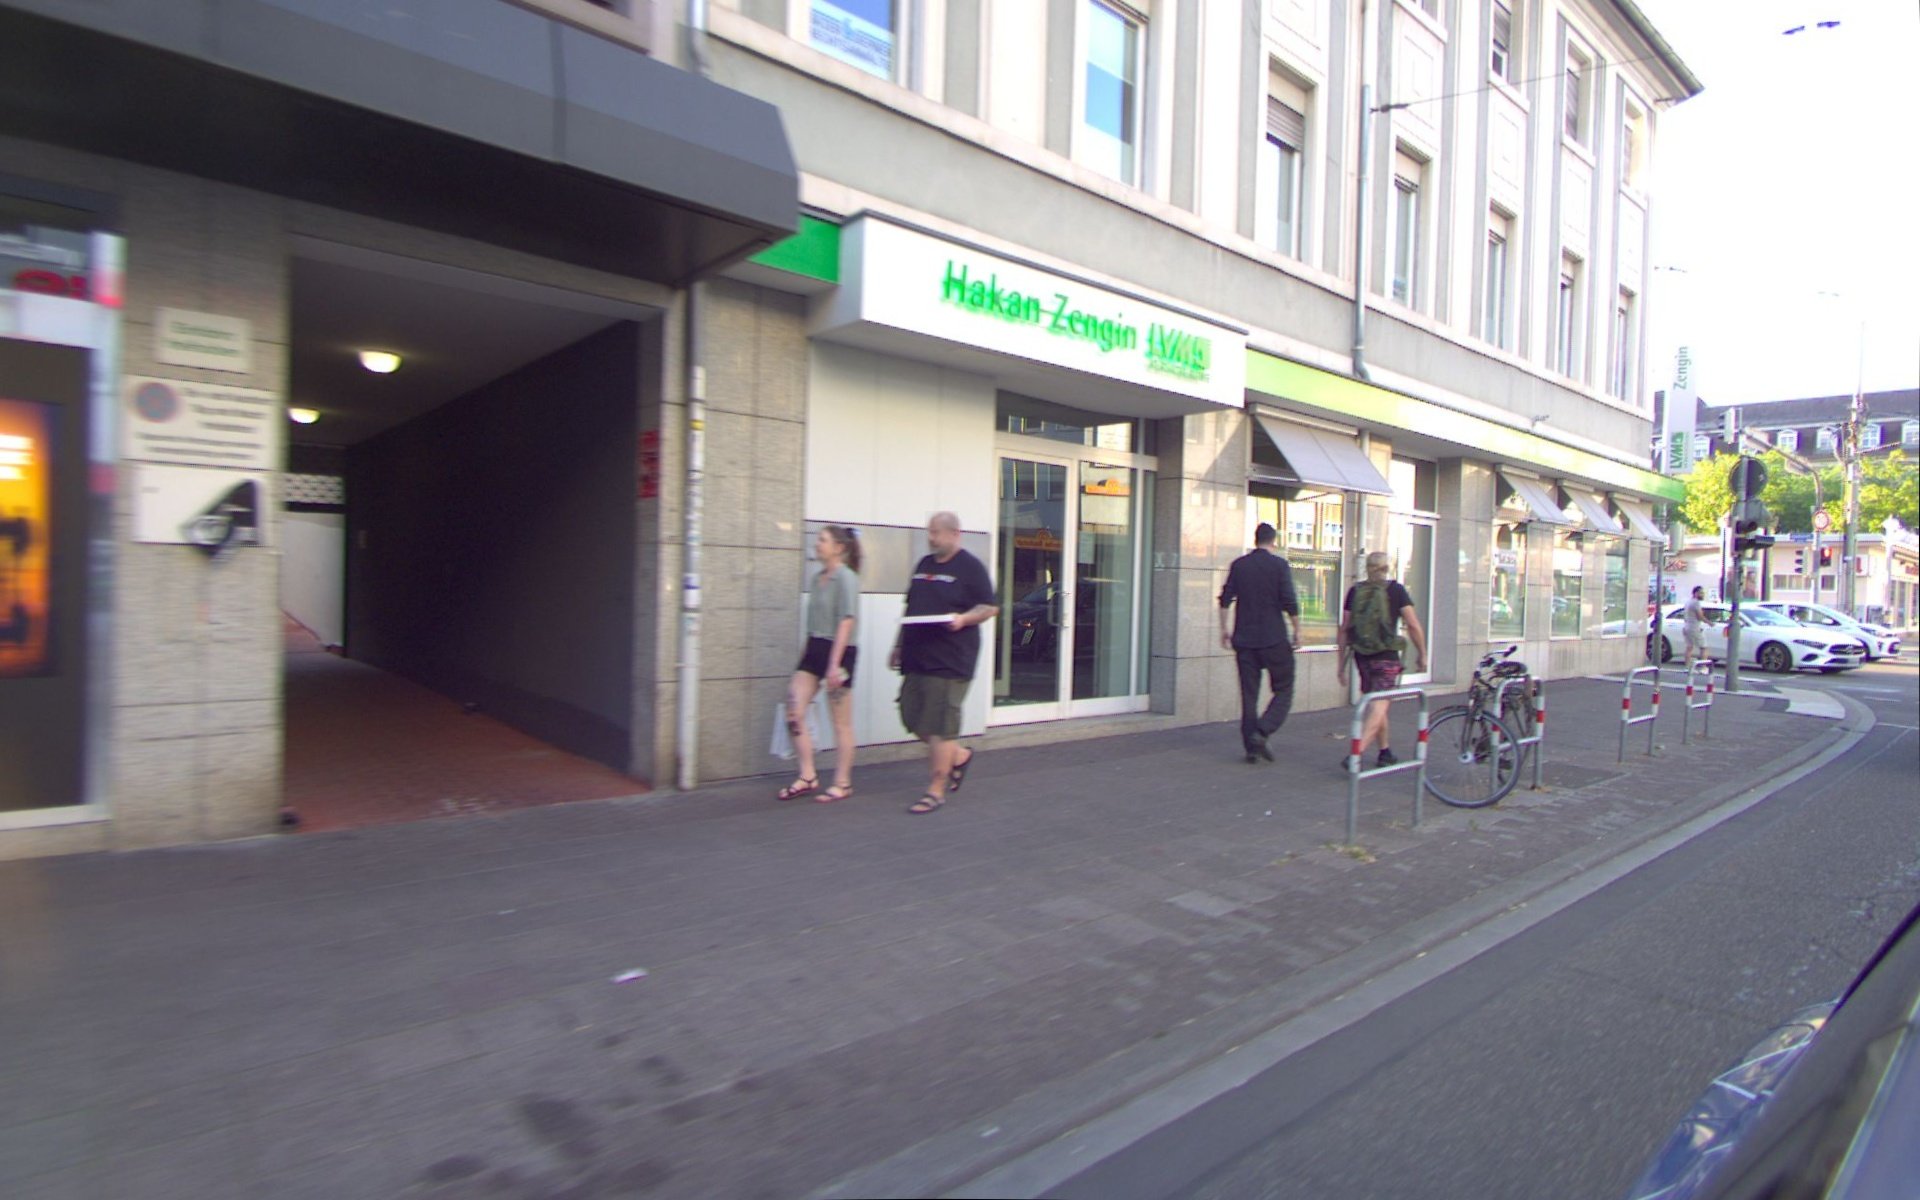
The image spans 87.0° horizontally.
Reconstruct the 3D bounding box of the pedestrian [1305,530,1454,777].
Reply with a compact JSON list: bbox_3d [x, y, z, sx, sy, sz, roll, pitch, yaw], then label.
[{"bbox_3d":[3.362,0.385,8.114,0.836,1.851,0.738,1,2,-42],"label":"pedestrian"}]

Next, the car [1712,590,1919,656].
[{"bbox_3d":[22.705,0.553,26.918,1.687,1.490,3.987,1,2,-34],"label":"car"}]

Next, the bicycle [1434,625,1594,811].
[{"bbox_3d":[4.016,0.788,7.298,1.465,1.161,0.534,0,2,-43],"label":"bicycle"}]

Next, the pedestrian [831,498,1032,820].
[{"bbox_3d":[-0.182,0.318,6.306,0.911,1.828,0.768,1,2,-39],"label":"pedestrian"}]

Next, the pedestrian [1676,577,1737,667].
[{"bbox_3d":[15.016,0.437,20.380,0.641,1.764,0.694,2,1,0],"label":"pedestrian"}]

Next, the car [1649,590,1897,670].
[{"bbox_3d":[18.014,0.597,22.678,1.790,1.490,3.995,1,2,-16],"label":"car"}]

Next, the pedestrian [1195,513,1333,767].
[{"bbox_3d":[2.493,0.292,8.299,0.864,1.951,0.662,1,2,-42],"label":"pedestrian"}]

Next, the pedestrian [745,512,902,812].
[{"bbox_3d":[-0.857,0.343,6.322,0.666,1.739,0.651,1,3,-39],"label":"pedestrian"}]
